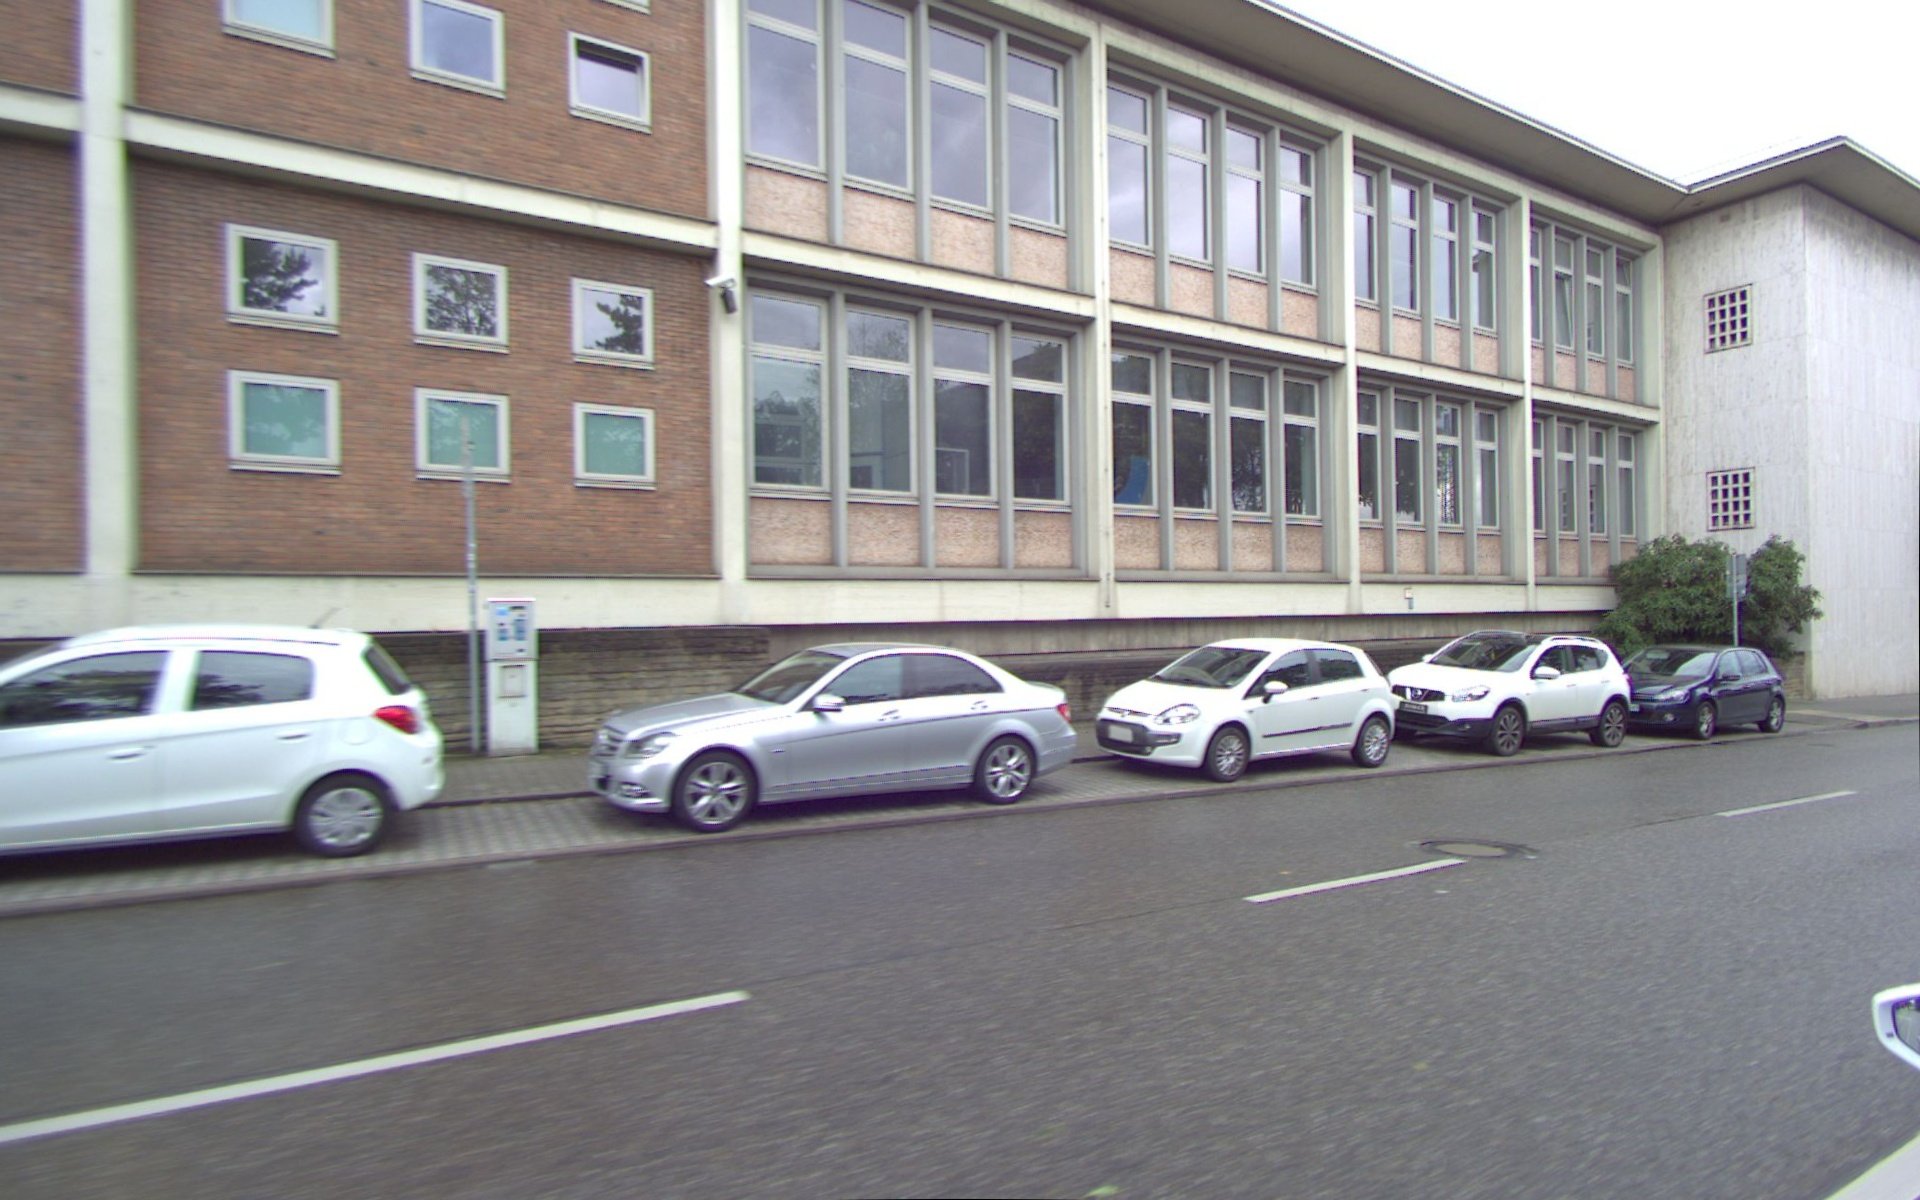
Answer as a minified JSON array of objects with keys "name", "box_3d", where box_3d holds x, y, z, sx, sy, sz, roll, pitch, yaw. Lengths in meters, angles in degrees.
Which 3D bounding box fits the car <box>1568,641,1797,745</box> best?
[{"name":"car","box_3d":[12.454,1.504,17.262,4.134,1.499,1.738,1,0,-32]}]

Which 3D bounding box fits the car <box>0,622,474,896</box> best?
[{"name":"car","box_3d":[-5.500,0.950,6.768,3.875,1.543,1.671,2,-1,-31]}]

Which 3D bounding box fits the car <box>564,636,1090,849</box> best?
[{"name":"car","box_3d":[-1.108,1.120,9.177,4.436,1.454,1.738,2,0,-32]}]

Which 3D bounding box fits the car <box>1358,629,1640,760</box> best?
[{"name":"car","box_3d":[7.929,1.284,14.707,4.133,1.619,1.739,1,0,-31]}]

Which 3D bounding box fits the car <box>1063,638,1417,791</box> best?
[{"name":"car","box_3d":[3.410,1.231,12.029,4.134,1.473,1.738,1,0,-32]}]
